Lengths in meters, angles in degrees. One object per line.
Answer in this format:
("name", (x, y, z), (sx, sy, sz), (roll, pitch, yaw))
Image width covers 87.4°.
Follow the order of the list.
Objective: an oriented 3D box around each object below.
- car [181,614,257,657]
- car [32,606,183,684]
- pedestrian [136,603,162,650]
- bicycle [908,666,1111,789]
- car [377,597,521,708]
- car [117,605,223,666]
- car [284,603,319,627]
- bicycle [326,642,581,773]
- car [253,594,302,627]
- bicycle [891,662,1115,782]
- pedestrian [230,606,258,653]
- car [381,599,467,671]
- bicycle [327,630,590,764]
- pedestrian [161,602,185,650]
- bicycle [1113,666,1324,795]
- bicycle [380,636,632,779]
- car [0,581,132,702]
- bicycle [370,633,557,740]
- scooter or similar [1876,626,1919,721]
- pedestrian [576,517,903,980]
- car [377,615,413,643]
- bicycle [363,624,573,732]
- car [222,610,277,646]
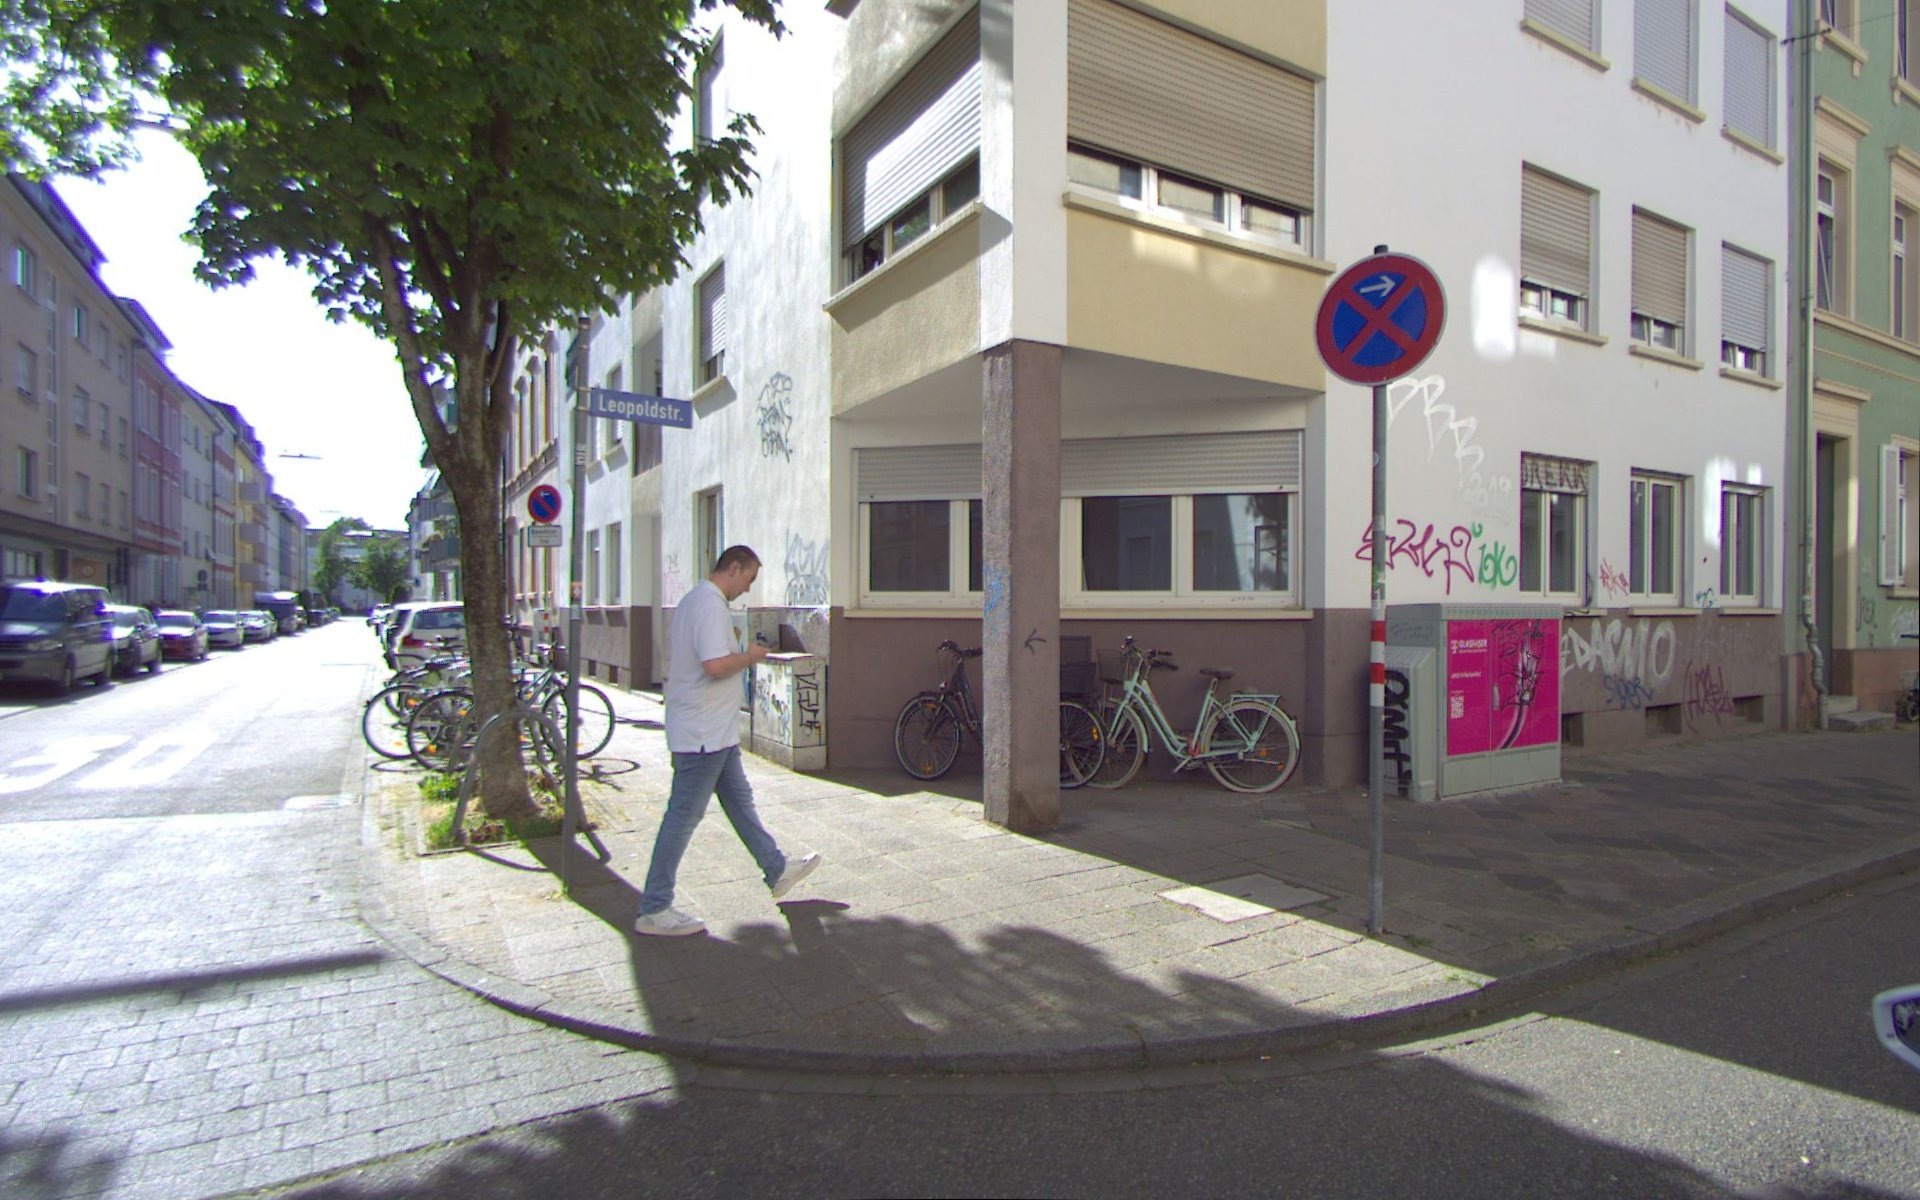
("car", (-28.911, 1.356, 39.314), (1.806, 1.566, 4.020), (0, -1, -28))
("car", (-19.585, 0.974, 23.287), (1.835, 1.609, 4.375), (-1, 0, -30))
("pedestrian", (-30.335, 1.002, 37.587), (0.616, 1.740, 0.659), (1, -1, -29))
("bicycle", (0.397, 0.987, 7.930), (1.553, 0.909, 0.404), (-1, -1, 10))
("car", (-8.884, 0.815, 17.384), (1.971, 1.635, 4.141), (-1, 0, -29))
("car", (-23.587, 1.026, 30.141), (1.806, 1.655, 3.912), (-1, 0, -28))
("car", (-47.607, 1.056, 72.626), (1.755, 1.664, 3.938), (1, -1, -29))
("bicycle", (-4.967, 1.013, 9.965), (2.155, 1.043, 0.637), (-3, 1, -29))
("car", (-41.864, 0.626, 61.712), (1.975, 1.919, 4.670), (1, -1, -28))
("bicycle", (0.363, 0.992, 8.358), (1.825, 0.925, 0.383), (0, -1, 10))
("pedestrian", (-31.531, 1.272, 44.222), (0.856, 2.040, 0.850), (0, -1, 44))
("car", (-14.358, 0.875, 26.947), (1.842, 1.715, 4.210), (-2, 1, -28))
("bicycle", (-5.222, 0.963, 10.586), (2.411, 1.201, 0.500), (-2, 0, -32))
("pedestrian", (-30.137, 0.992, 38.476), (0.616, 1.812, 0.659), (1, -1, -29))
("bicycle", (1.979, 0.996, 7.825), (1.538, 0.894, 0.431), (1, 2, 9))
("bicycle", (-4.087, 0.926, 9.140), (2.039, 1.116, 0.479), (-1, 0, -32))
("car", (-16.933, 0.681, 18.238), (2.060, 1.972, 4.563), (2, -1, -29))
("bicycle", (-6.063, 1.021, 12.313), (1.974, 1.081, 0.675), (-3, 2, -32))
("scooter or similar", (12.883, 0.960, 13.394), (1.670, 1.197, 0.452), (1, -1, -28))
("pedestrian", (-1.046, 0.578, 4.720), (1.231, 1.857, 0.906), (-2, 1, -31))
("car", (-34.715, 1.745, 61.752), (1.806, 1.607, 4.210), (-1, 0, -28))
("bicycle", (-6.496, 0.989, 13.335), (2.394, 1.162, 0.829), (-4, 2, -32))
("car", (-33.407, 1.292, 47.317), (1.649, 1.607, 3.847), (0, 0, -28))
